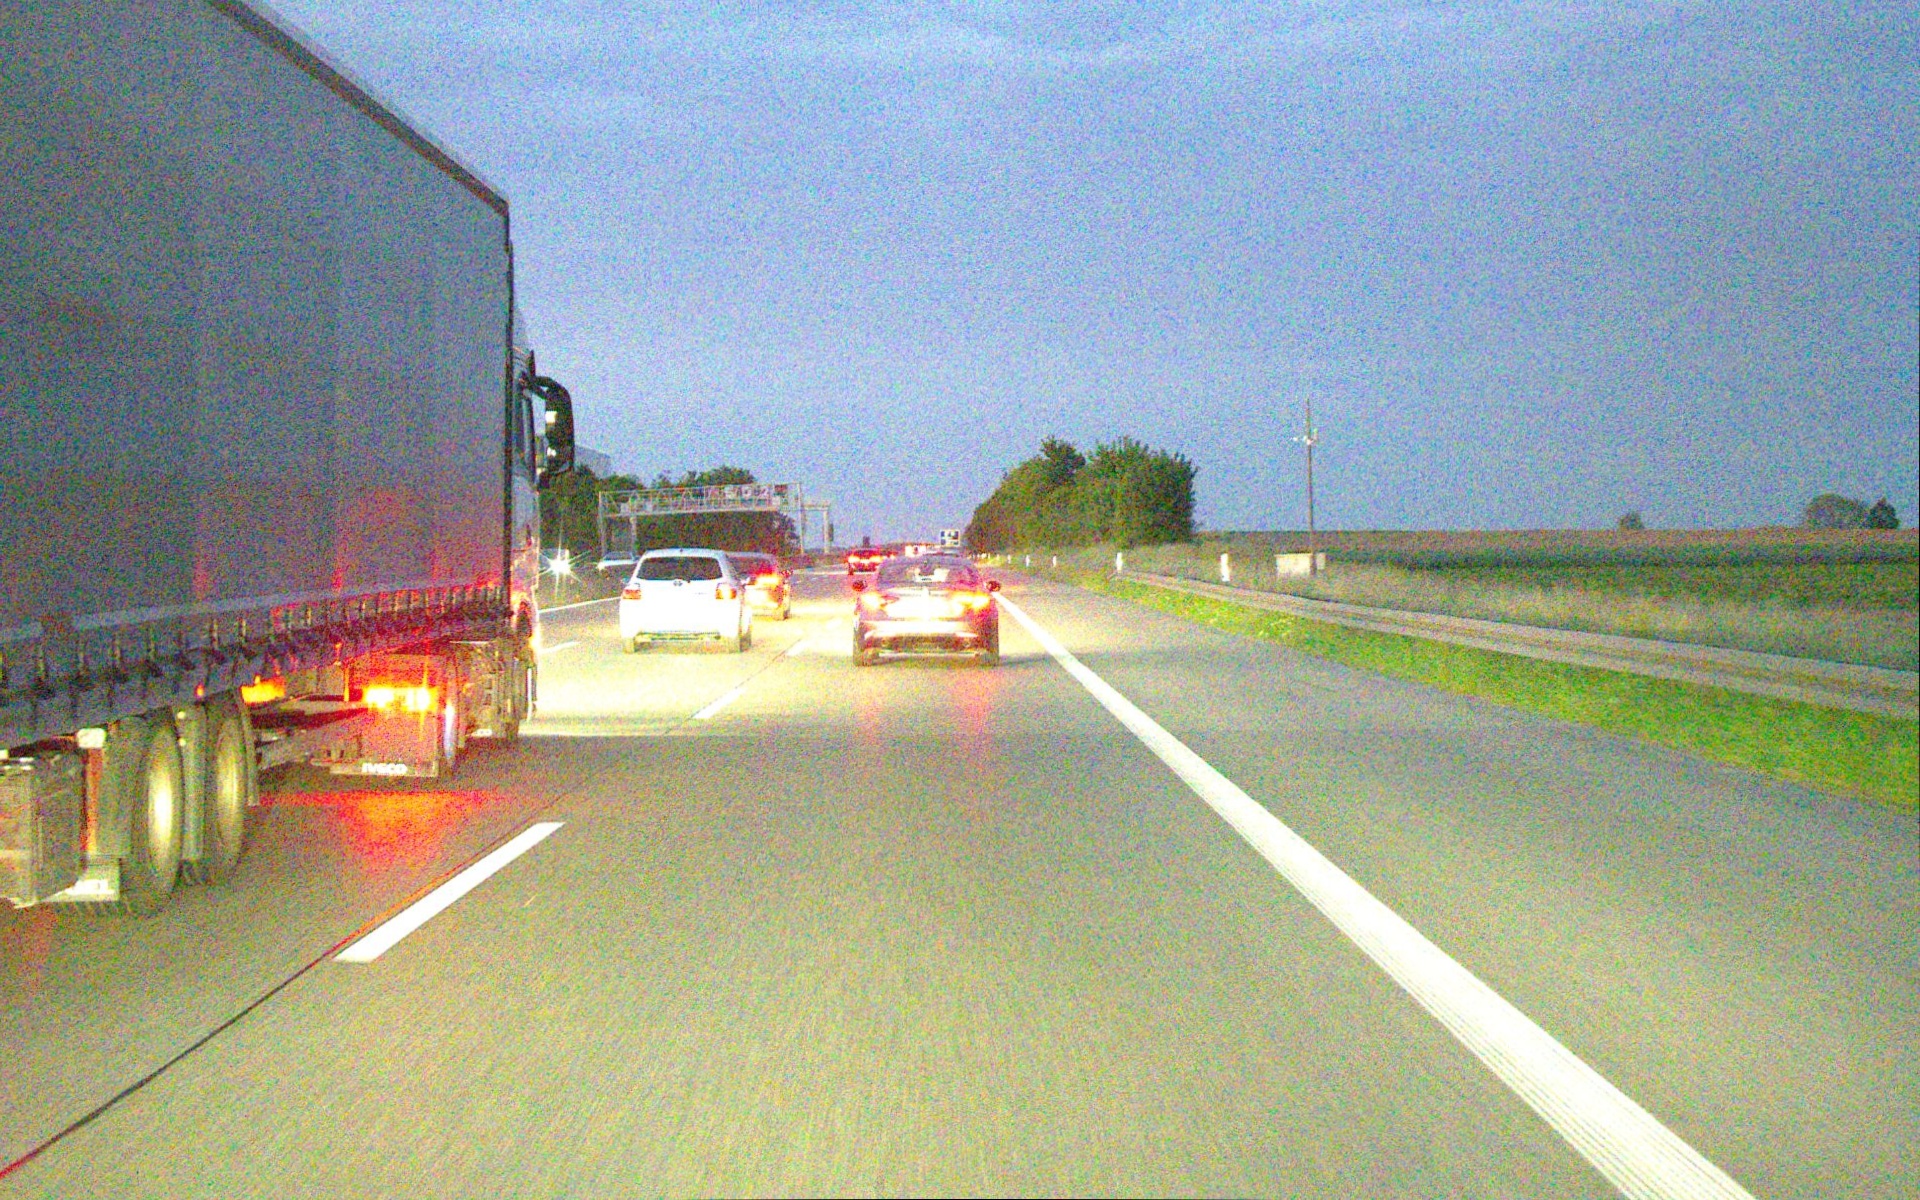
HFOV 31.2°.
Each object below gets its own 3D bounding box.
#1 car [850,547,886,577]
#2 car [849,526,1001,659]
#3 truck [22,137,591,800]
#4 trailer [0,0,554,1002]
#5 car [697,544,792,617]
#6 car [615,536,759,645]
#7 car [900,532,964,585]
[{"bbox_3d":[-4.921,-2.040,183.825,1.880,1.547,4.000,1,0,-1],"label":"car"},{"bbox_3d":[-0.445,-0.112,45.028,1.880,1.637,4.000,1,0,0],"label":"car"},{"bbox_3d":[-4.369,-0.836,24.317,2.777,4.079,6.103,0,0,1],"label":"truck"},{"bbox_3d":[-4.432,-0.786,17.688,2.794,4.071,14.525,0,0,1],"label":"trailer"},{"bbox_3d":[-4.522,-0.418,72.643,1.722,1.466,4.726,1,0,-1],"label":"car"},{"bbox_3d":[-3.984,-0.148,50.790,1.744,1.519,4.414,1,0,0],"label":"car"},{"bbox_3d":[-0.870,-1.260,104.845,1.880,1.547,4.000,1,0,-1],"label":"car"}]
